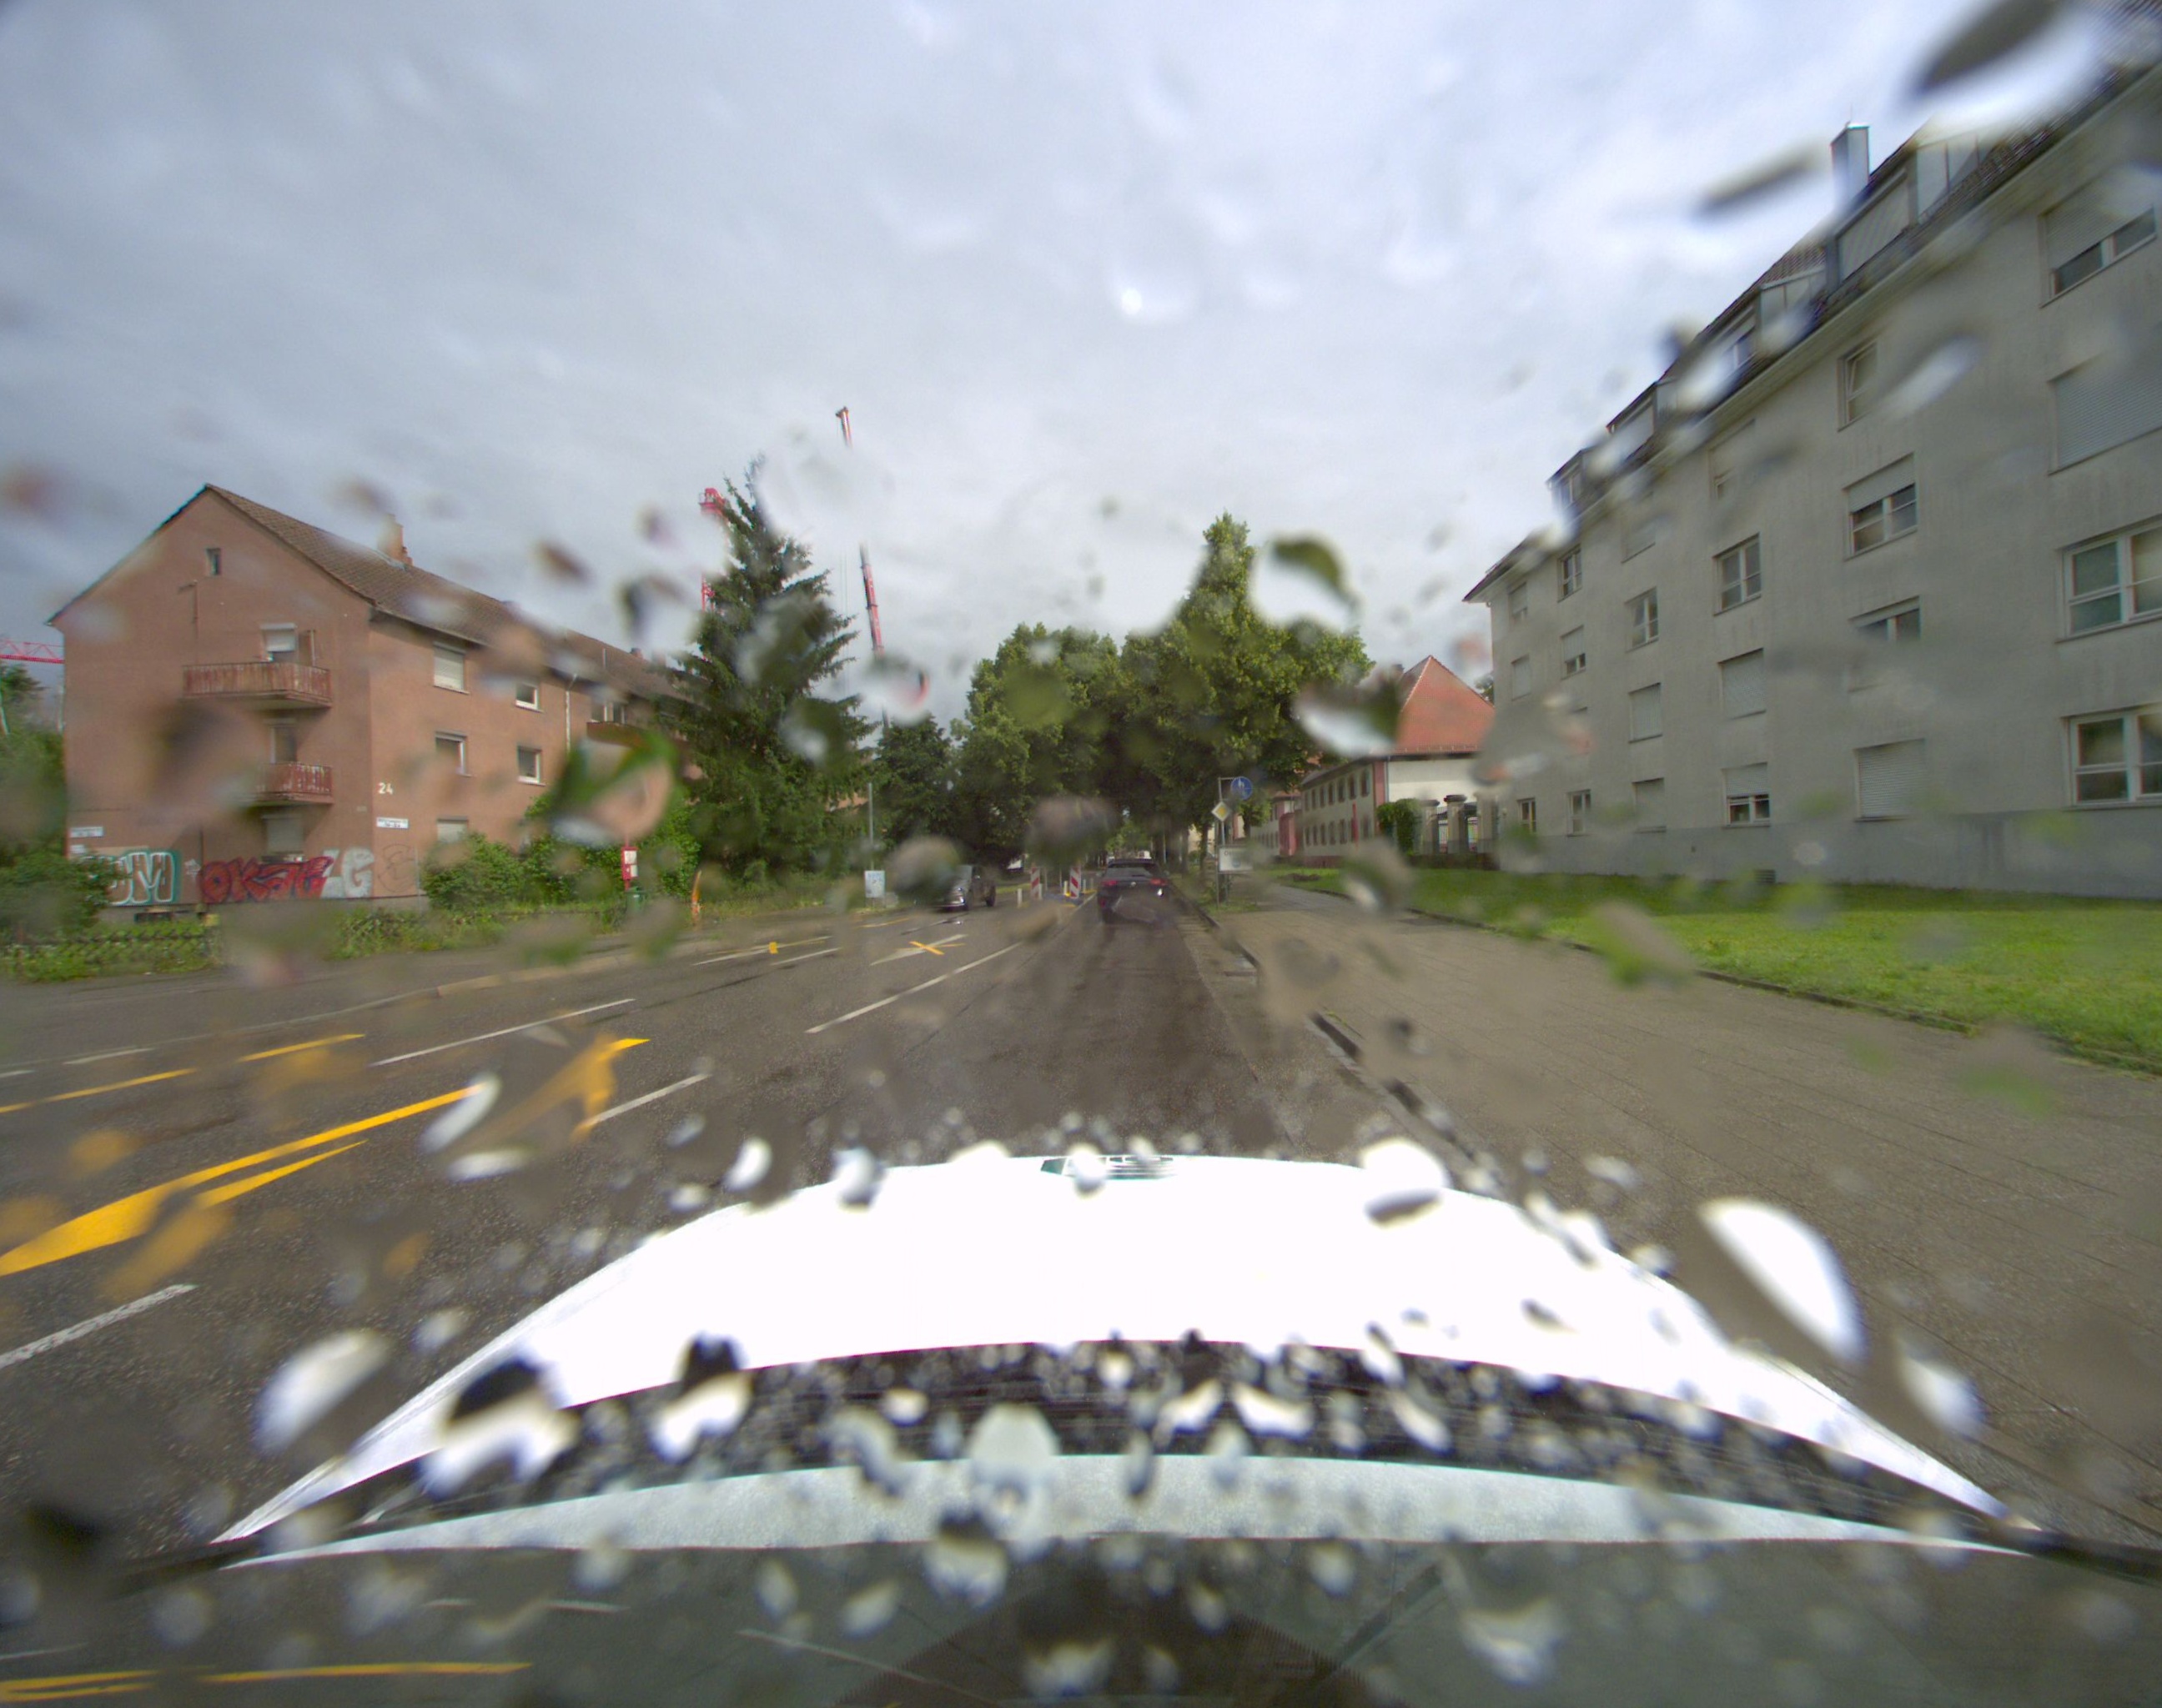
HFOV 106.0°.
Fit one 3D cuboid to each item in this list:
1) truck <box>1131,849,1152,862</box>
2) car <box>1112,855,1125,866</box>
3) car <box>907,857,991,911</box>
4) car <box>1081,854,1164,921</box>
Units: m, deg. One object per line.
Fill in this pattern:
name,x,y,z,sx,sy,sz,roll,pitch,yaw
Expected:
truck,12.846,0.244,173.714,2.802,2.656,8.222,-2,0,-6
car,5.994,0.996,129.712,1.878,1.713,4.235,-3,0,5
car,-4.115,0.903,26.014,1.671,1.508,3.799,-2,0,6
car,1.138,0.799,21.097,1.886,1.522,4.005,-2,0,5
